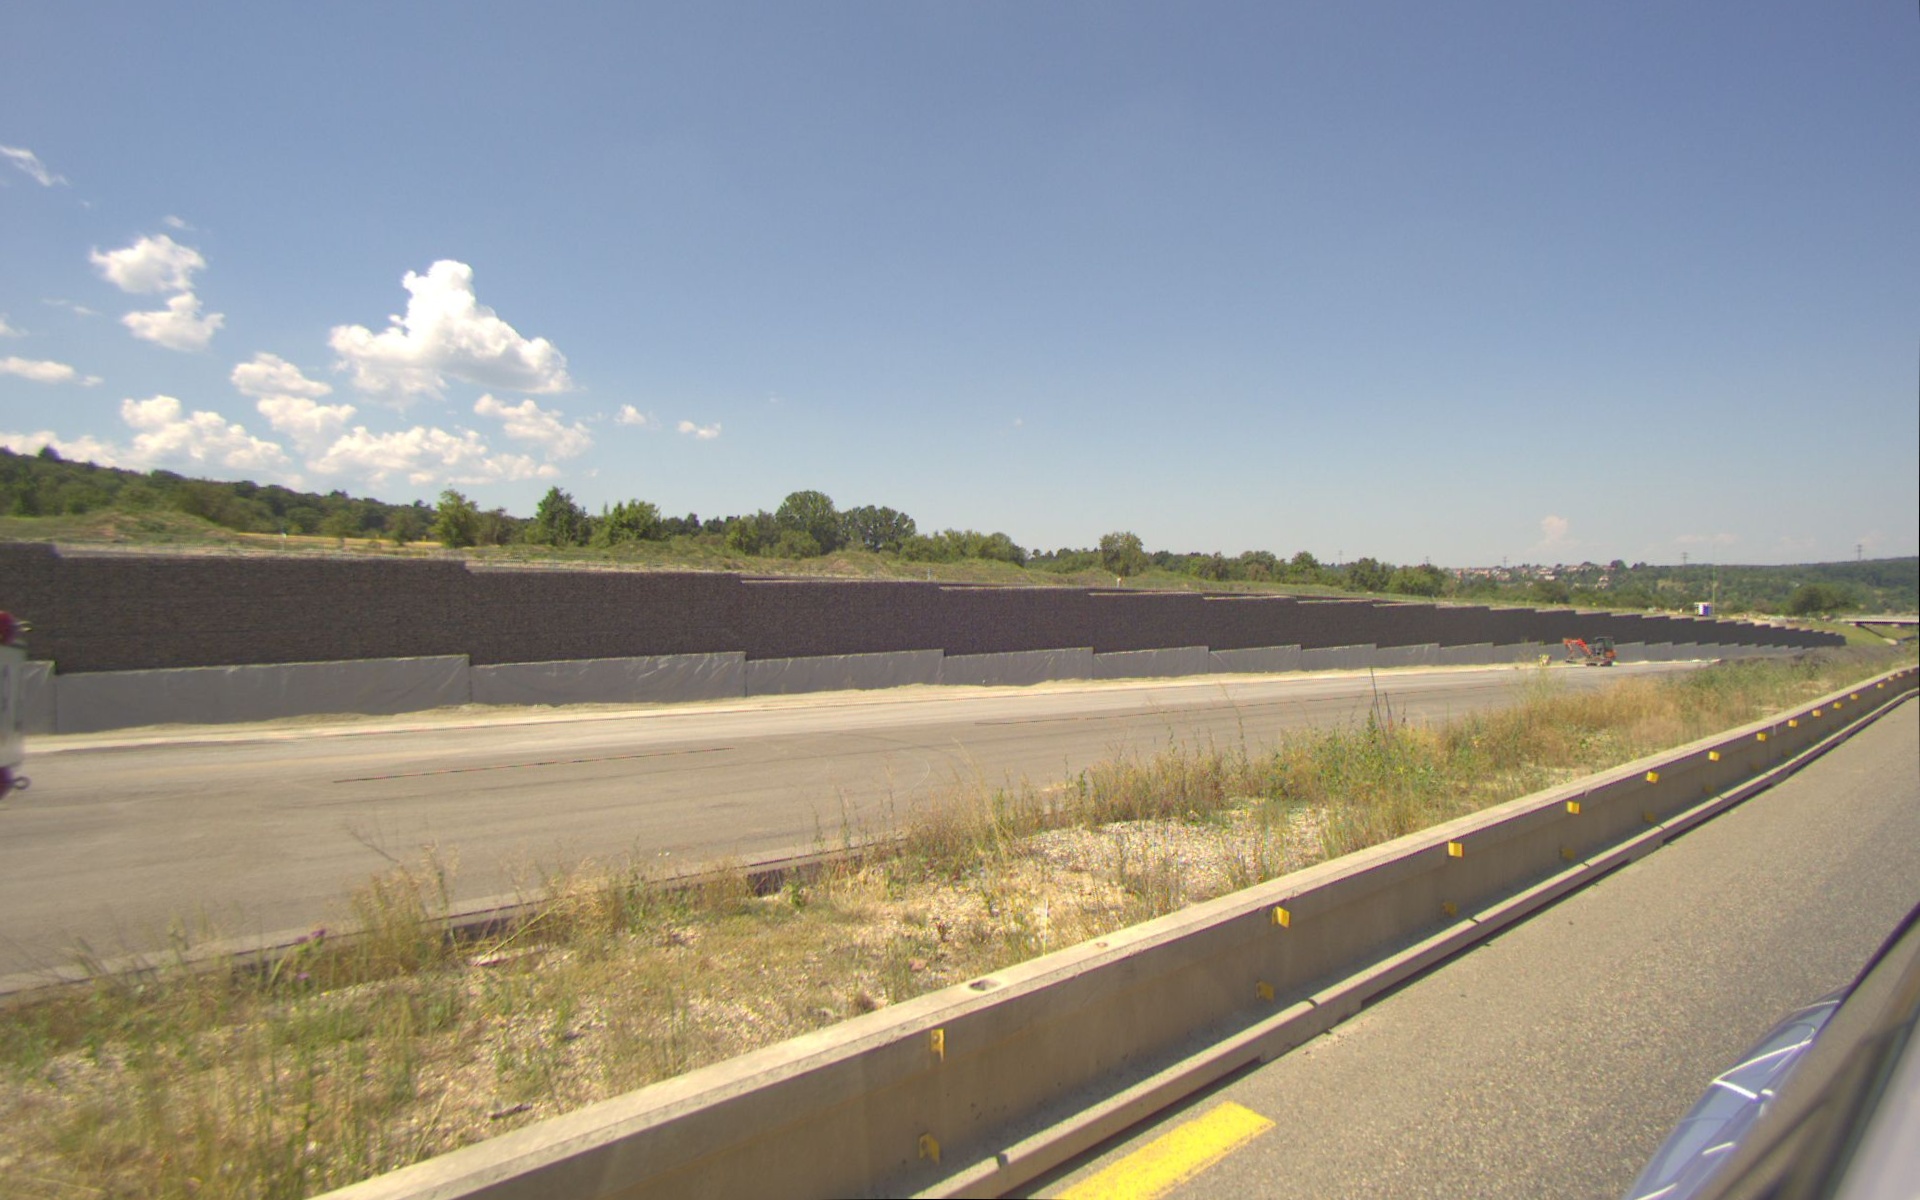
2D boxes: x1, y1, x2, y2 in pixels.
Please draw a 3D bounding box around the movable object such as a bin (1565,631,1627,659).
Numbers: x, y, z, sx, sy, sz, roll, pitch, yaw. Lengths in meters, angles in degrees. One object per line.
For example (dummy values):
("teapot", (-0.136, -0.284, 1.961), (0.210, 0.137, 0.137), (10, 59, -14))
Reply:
("movable object such as a bin", (52.699, 3.693, 83.898), (4.085, 2.175, 1.750), (0, 0, 23))
